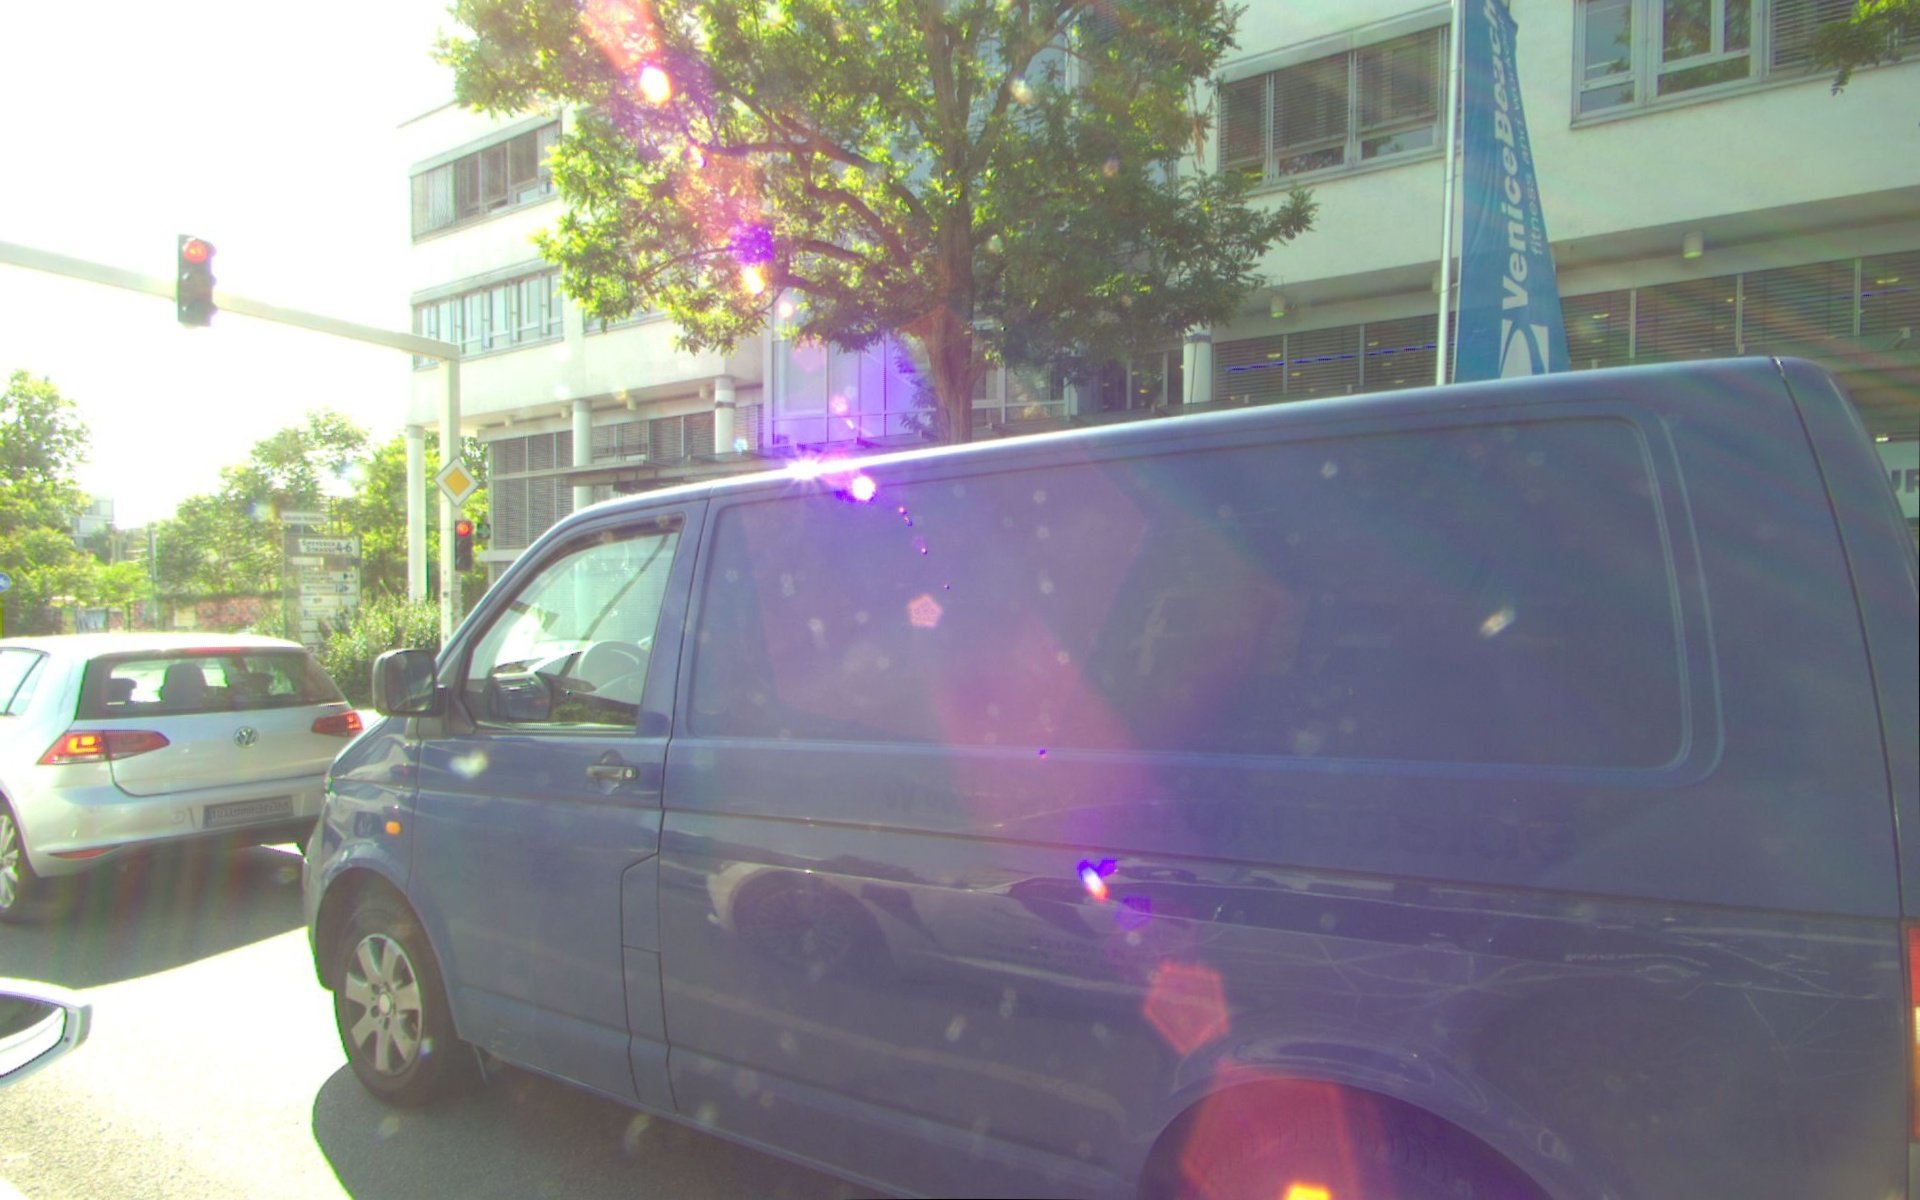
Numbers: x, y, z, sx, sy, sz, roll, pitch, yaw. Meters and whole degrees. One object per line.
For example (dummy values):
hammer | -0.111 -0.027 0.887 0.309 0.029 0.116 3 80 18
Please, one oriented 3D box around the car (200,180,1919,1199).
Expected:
car | -0.216 0.542 3.232 4.821 1.973 1.989 -1 -1 32

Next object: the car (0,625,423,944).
car | -5.472 0.920 6.463 3.942 1.448 1.804 -1 -1 32

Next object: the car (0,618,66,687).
car | -21.977 1.148 21.289 1.967 1.461 3.987 -1 0 24

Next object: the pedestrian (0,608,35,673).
pedestrian | -30.123 1.272 31.677 1.023 2.040 1.025 0 0 32

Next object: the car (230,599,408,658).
car | -20.404 0.858 32.000 1.978 1.572 4.392 -1 2 43
